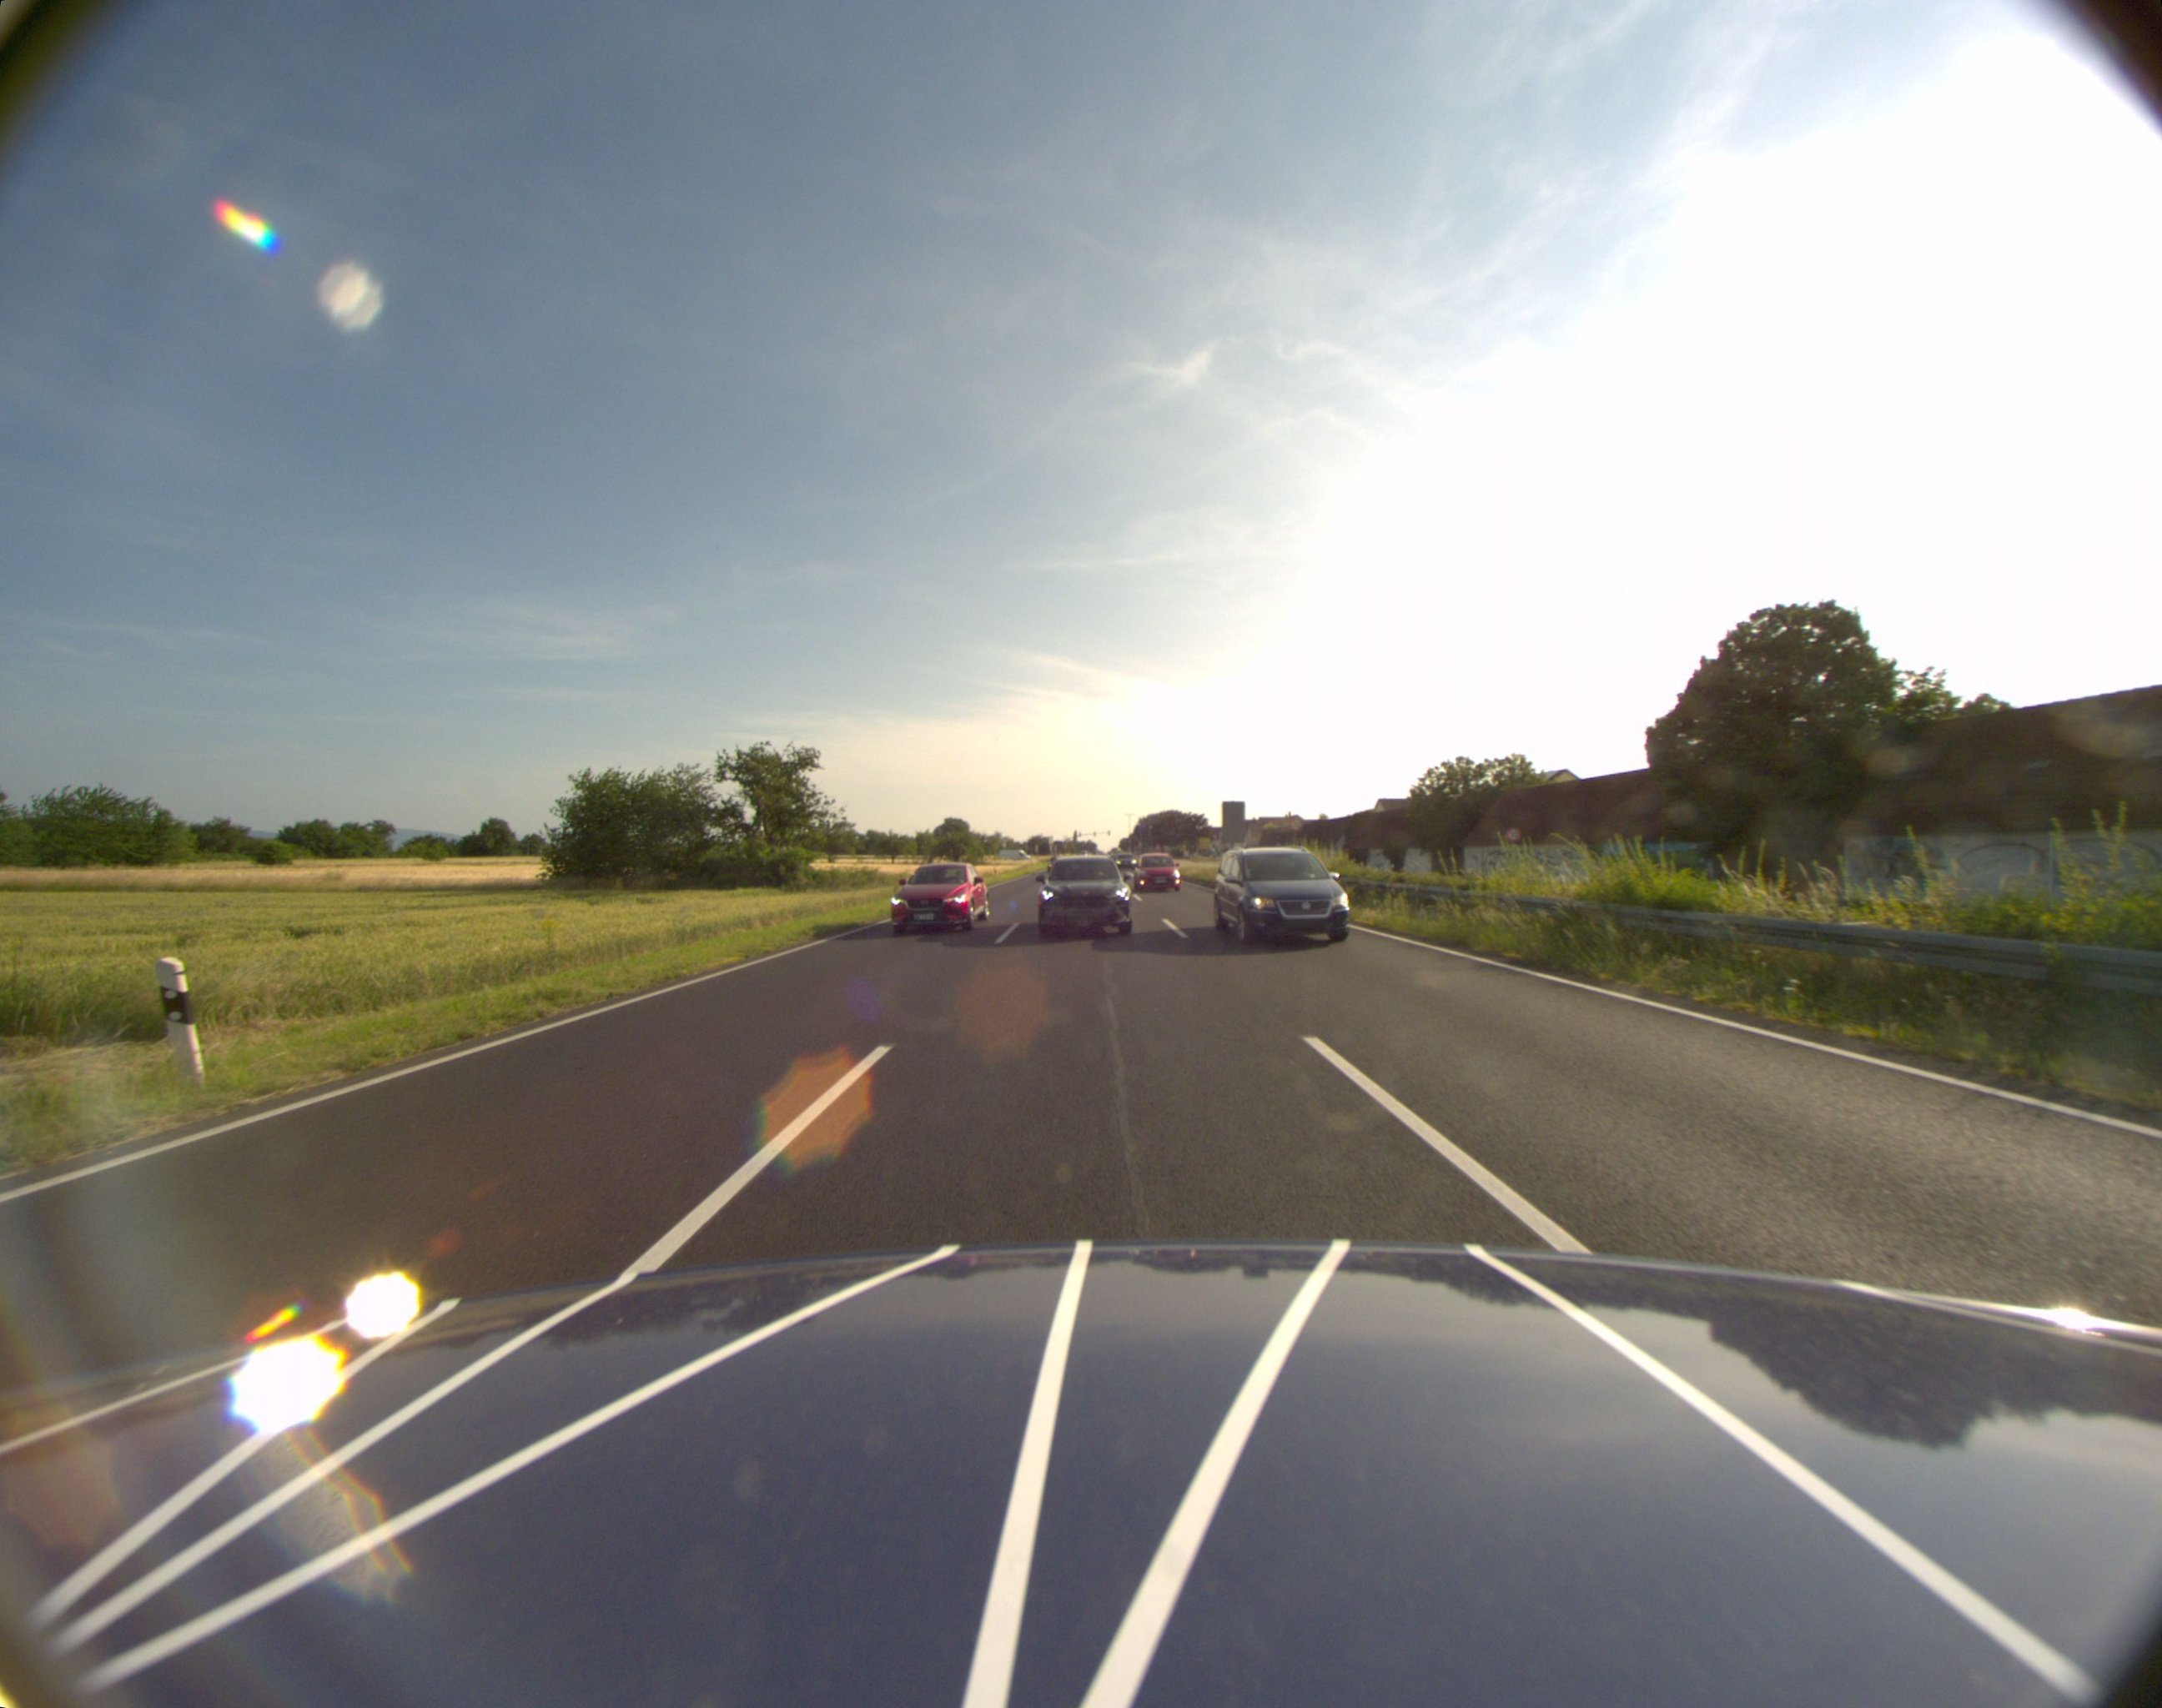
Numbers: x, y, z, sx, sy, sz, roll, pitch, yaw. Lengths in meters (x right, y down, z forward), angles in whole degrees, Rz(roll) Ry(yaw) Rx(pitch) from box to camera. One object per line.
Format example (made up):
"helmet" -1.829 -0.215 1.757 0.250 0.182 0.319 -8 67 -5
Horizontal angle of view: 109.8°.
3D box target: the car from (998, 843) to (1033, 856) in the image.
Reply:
"car" -14.052 -0.952 163.645 7.201 2.654 2.094 0 2 15

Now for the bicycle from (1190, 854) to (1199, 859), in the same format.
"bicycle" 26.373 0.639 176.475 2.159 1.185 0.904 1 2 10

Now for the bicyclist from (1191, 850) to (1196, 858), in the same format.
"bicyclist" 26.142 -0.018 176.493 0.856 1.777 0.847 2 2 10

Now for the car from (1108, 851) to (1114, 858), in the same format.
"car" 9.692 0.213 247.798 1.998 2.002 4.000 -2 1 2

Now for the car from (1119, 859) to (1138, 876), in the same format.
"car" 4.694 1.313 75.927 1.718 1.521 4.000 -2 1 2

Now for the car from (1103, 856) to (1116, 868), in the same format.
"car" 4.962 1.418 133.234 1.999 2.002 3.999 -2 1 -1

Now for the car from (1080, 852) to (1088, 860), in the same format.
"car" 0.710 0.450 205.859 1.999 2.002 3.999 -2 1 -1

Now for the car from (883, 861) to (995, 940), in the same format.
"car" -3.255 1.007 18.303 1.708 1.497 4.500 -2 1 1

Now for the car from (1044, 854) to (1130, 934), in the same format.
"car" 0.205 0.854 18.373 1.791 1.594 4.339 -2 1 2

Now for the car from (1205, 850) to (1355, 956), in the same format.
"car" 3.566 0.780 14.482 1.777 1.612 4.682 -1 1 2

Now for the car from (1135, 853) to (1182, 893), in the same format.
"car" 3.358 0.806 33.414 1.748 1.537 4.000 -2 1 2

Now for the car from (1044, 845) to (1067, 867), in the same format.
"car" -2.414 0.154 72.936 1.999 2.002 3.999 -2 1 -1
